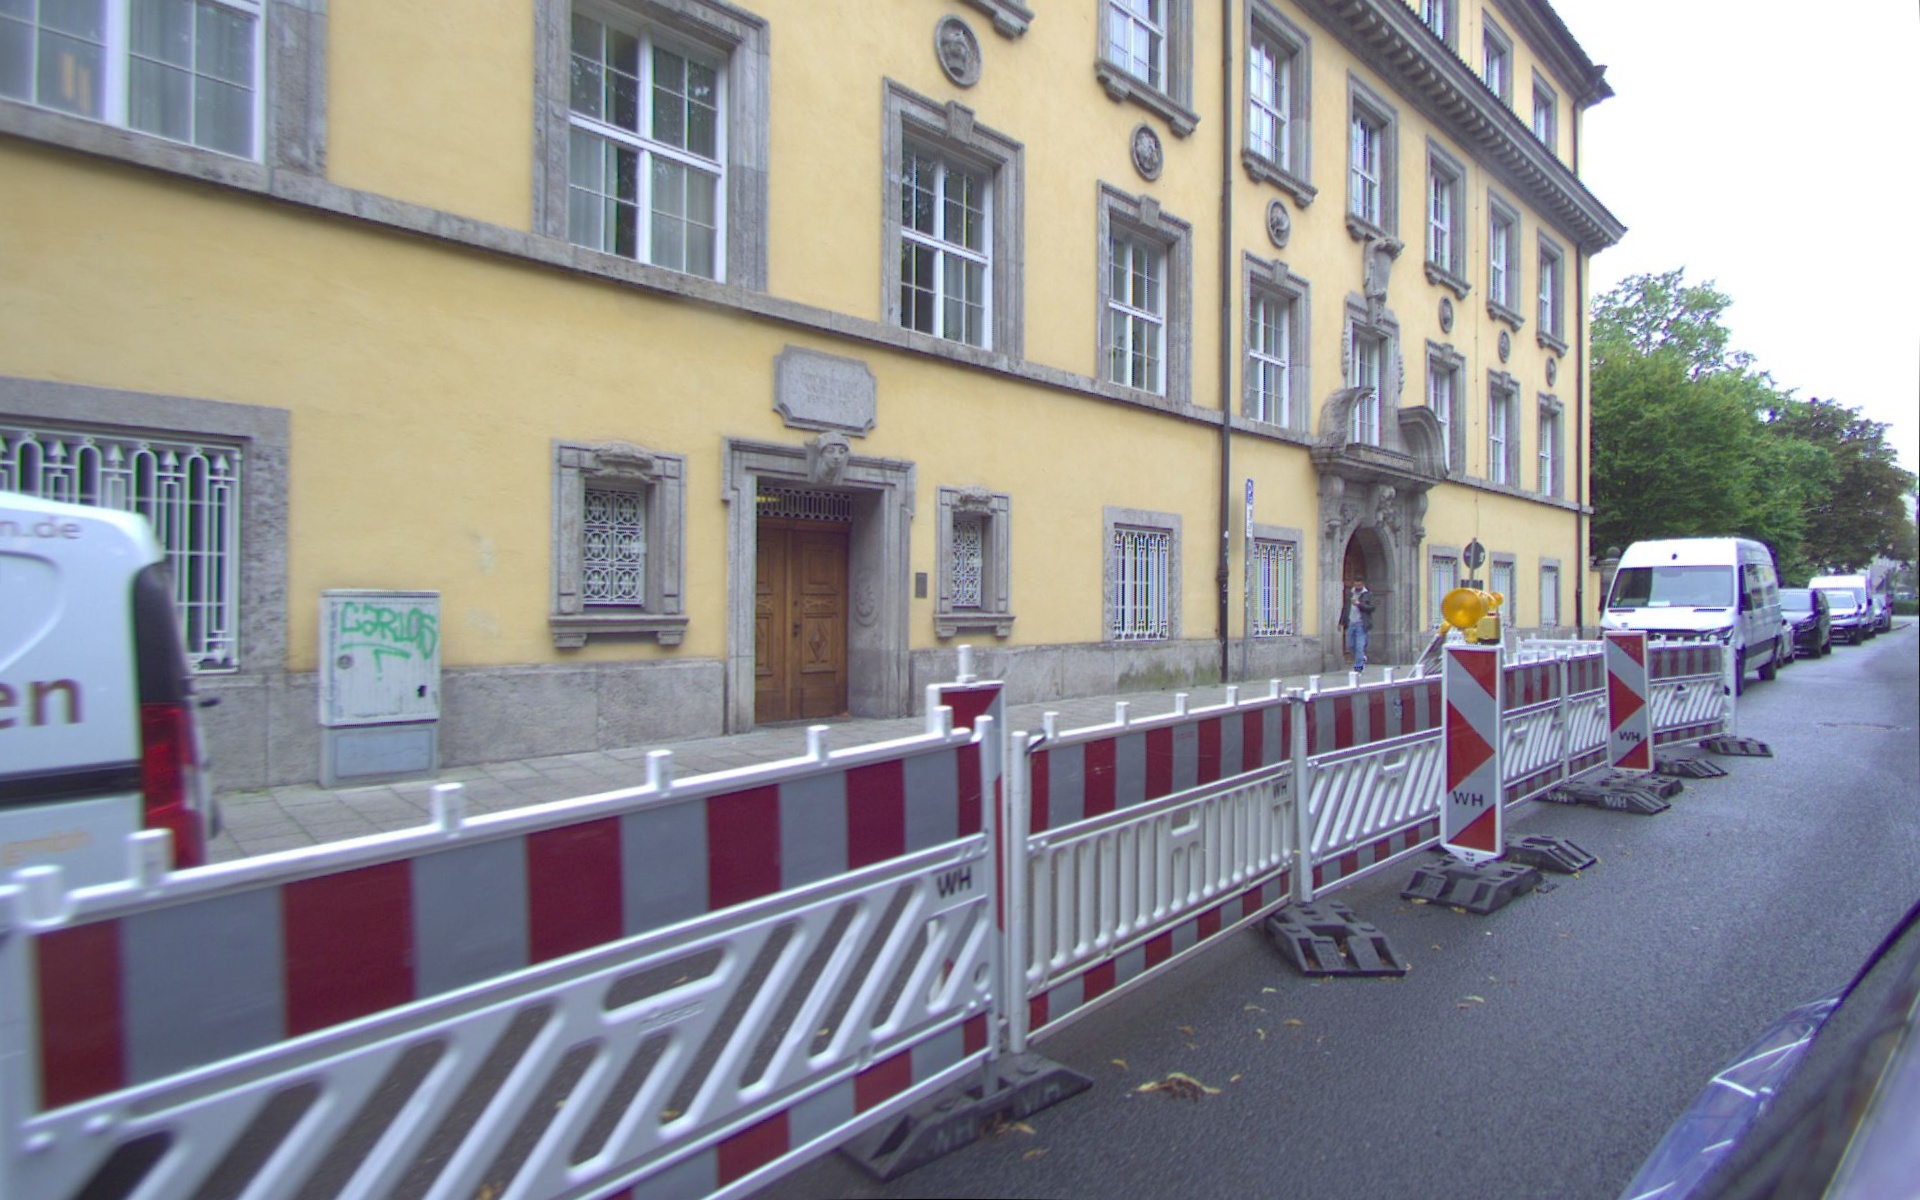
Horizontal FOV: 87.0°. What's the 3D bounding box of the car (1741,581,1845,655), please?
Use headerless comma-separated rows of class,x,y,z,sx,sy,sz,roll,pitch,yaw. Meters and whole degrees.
car,23.353,0.443,28.294,1.871,1.892,4.907,0,0,44

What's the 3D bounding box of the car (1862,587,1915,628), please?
car,48.152,0.350,52.464,1.859,1.992,5.358,0,0,44

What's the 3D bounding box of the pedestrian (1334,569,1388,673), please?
pedestrian,7.255,0.359,18.308,0.573,1.826,0.701,-1,2,-44

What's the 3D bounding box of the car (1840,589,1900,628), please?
car,43.655,0.407,48.499,4.528,1.764,1.859,0,-1,-45

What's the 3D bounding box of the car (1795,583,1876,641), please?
car,31.231,0.401,36.041,2.012,1.931,5.084,-2,-1,42

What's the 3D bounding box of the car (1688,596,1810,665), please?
car,18.909,0.657,24.180,1.871,1.476,4.187,0,1,44

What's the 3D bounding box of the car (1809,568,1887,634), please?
car,36.250,-0.032,41.242,2.096,2.519,5.649,0,1,44

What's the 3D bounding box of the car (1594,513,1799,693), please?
car,13.775,0.003,18.653,2.055,2.706,7.493,0,0,44

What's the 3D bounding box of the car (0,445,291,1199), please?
car,-3.817,0.579,1.659,1.740,1.772,4.286,0,1,45
